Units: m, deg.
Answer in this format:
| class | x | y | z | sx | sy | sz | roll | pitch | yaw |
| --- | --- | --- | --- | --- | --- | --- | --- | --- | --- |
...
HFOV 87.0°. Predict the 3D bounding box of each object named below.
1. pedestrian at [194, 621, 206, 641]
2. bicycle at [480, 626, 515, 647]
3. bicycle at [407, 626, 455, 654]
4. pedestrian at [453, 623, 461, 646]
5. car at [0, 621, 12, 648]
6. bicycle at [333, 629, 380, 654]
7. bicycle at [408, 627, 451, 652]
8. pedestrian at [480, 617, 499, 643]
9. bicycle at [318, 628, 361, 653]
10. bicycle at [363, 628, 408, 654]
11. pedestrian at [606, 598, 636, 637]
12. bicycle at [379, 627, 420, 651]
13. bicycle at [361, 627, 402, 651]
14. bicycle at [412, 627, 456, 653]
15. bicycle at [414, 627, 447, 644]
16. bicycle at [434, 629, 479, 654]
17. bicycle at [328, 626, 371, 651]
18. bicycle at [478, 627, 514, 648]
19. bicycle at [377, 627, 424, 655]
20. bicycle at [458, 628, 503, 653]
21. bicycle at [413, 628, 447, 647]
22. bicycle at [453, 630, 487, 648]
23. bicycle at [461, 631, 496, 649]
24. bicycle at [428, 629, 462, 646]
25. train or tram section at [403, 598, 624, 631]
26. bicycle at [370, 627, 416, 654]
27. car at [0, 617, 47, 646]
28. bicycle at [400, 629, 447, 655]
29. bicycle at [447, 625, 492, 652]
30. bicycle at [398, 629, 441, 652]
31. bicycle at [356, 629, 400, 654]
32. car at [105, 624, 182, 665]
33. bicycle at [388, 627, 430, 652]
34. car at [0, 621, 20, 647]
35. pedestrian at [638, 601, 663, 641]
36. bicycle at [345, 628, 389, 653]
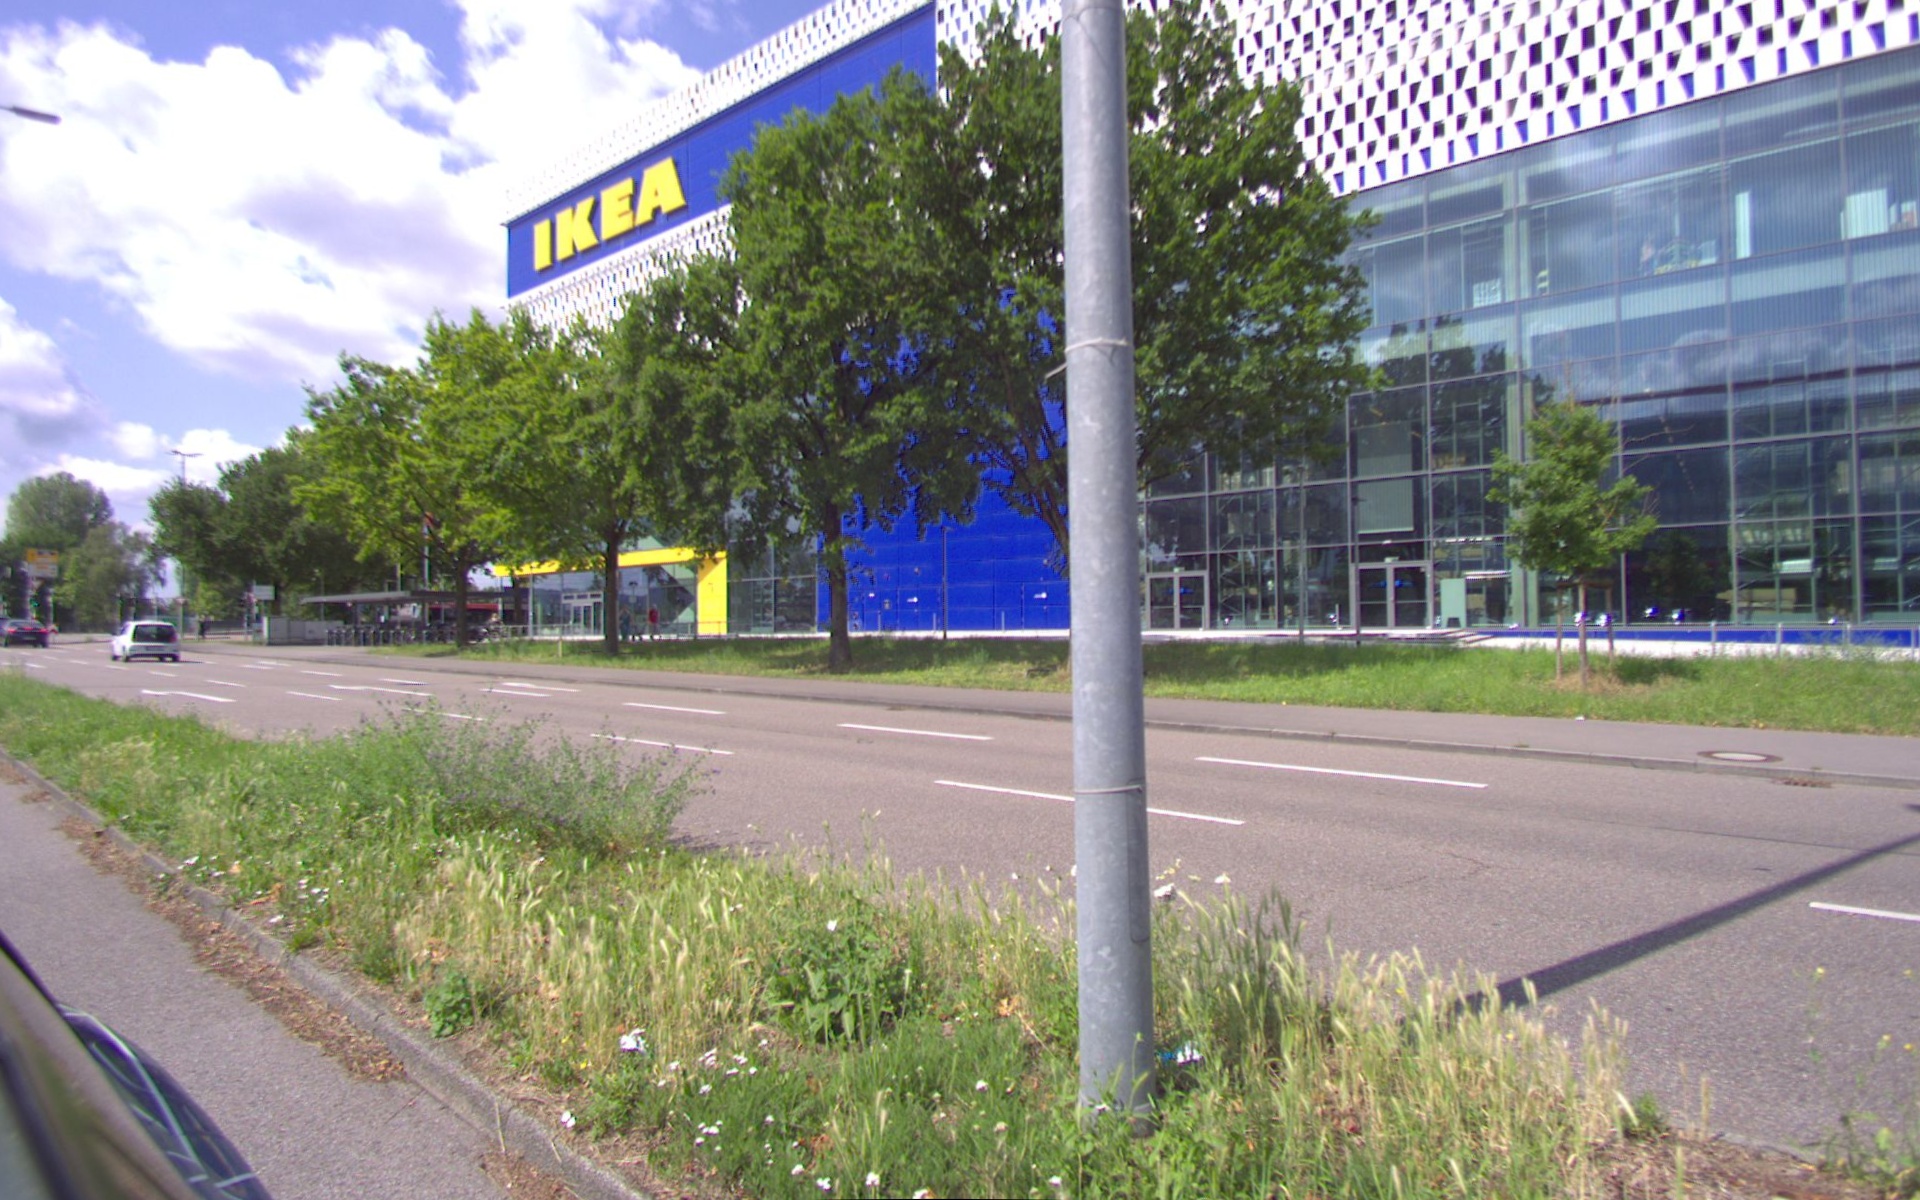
| class | x | y | z | sx | sy | sz | roll | pitch | yaw |
| --- | --- | --- | --- | --- | --- | --- | --- | --- | --- |
| pedestrian | -56.251 | 2.306 | 74.932 | 0.616 | 1.502 | 0.435 | -1 | -2 | 24 |
| bicycle | -28.171 | 2.217 | 61.640 | 0.528 | 1.219 | 1.917 | -1 | -2 | 36 |
| bicycle | -24.803 | 1.869 | 47.503 | 0.629 | 1.282 | 1.905 | -3 | -2 | 40 |
| pedestrian | -39.467 | 2.705 | 79.431 | 0.515 | 1.716 | 0.405 | -3 | -2 | 34 |
| car | -60.892 | 2.132 | 63.307 | 3.997 | 1.627 | 1.752 | 0 | -3 | 40 |
| bicycle | -32.093 | 2.192 | 53.805 | 0.629 | 1.282 | 2.068 | -3 | -2 | 40 |
| bicycle | -27.876 | 2.082 | 53.165 | 0.629 | 1.282 | 1.905 | -3 | -2 | 40 |
| pedestrian | -31.266 | 1.994 | 67.280 | 0.710 | 1.719 | 0.886 | -1 | -2 | 40 |
| bicycle | -33.887 | 2.215 | 55.313 | 0.629 | 1.282 | 1.905 | -3 | -2 | 40 |
| bicycle | -29.225 | 2.077 | 51.519 | 0.629 | 1.282 | 1.905 | -3 | -2 | 40 |
| pedestrian | -15.249 | 0.776 | 45.516 | 0.886 | 1.715 | 0.940 | -2 | -1 | 40 |
| bicycle | -30.782 | 2.142 | 55.584 | 0.629 | 1.282 | 1.905 | -3 | -2 | 40 |
| bicycle | -32.539 | 2.195 | 56.909 | 0.629 | 1.282 | 1.905 | -3 | -2 | 40 |
| bicycle | -27.268 | 2.059 | 52.463 | 0.629 | 1.282 | 1.905 | -3 | -2 | 40 |
| bicycle | -34.337 | 2.299 | 65.640 | 0.528 | 1.078 | 1.917 | -1 | -2 | 35 |
| bicycle | -25.124 | 2.060 | 50.548 | 0.629 | 1.188 | 1.905 | -3 | -2 | 40 |
| bicycle | -32.842 | 2.059 | 54.472 | 0.629 | 1.282 | 1.905 | -3 | -2 | 40 |
| bicycle | -27.850 | 2.245 | 60.772 | 0.596 | 1.253 | 1.927 | -1 | -2 | 36 |
| bicycle | -27.494 | 2.007 | 49.752 | 0.629 | 1.282 | 1.905 | -3 | -2 | 40 |
| bicycle | -23.358 | 1.976 | 49.334 | 0.629 | 1.193 | 1.905 | -3 | -2 | 40 |
| bicycle | -33.774 | 2.377 | 64.497 | 0.467 | 1.181 | 1.938 | -3 | -2 | 36 |
| bicycle | -30.426 | 2.423 | 62.852 | 0.519 | 1.098 | 1.912 | -3 | -2 | 36 |
| bicycle | -29.566 | 2.472 | 62.162 | 0.528 | 1.078 | 1.917 | -1 | -2 | 36 |
| bicycle | -32.773 | 2.386 | 64.431 | 0.528 | 1.078 | 1.917 | -1 | -2 | 36 |
| train or tram section | -52.162 | 1.920 | 120.252 | 4.525 | 3.055 | 24.801 | -2 | -4 | 38 |
| bicycle | -28.452 | 2.038 | 50.776 | 0.629 | 1.282 | 1.905 | -3 | -2 | 40 |
| car | -49.987 | 1.651 | 53.672 | 4.515 | 1.432 | 1.647 | -1 | -4 | 40 |
| bicycle | -25.582 | 2.003 | 48.270 | 0.629 | 1.192 | 1.905 | -3 | -2 | 40 |
| bicycle | -24.210 | 1.914 | 49.941 | 0.629 | 1.282 | 1.905 | -3 | -2 | 40 |
| bicycle | -28.690 | 2.144 | 53.750 | 0.629 | 1.192 | 1.905 | -3 | -2 | 40 |
| bicycle | -30.028 | 2.132 | 52.244 | 0.629 | 1.282 | 1.905 | -3 | -2 | 40 |
| car | -30.183 | 1.615 | 37.385 | 3.669 | 1.440 | 1.625 | -2 | -3 | 42 |
| bicycle | -29.750 | 2.128 | 54.625 | 0.629 | 1.282 | 1.905 | -3 | -2 | 40 |
| car | -54.621 | 1.920 | 57.415 | 4.093 | 1.402 | 1.397 | -1 | -4 | 41 |
| pedestrian | -14.378 | 0.951 | 46.944 | 0.886 | 1.836 | 0.746 | -2 | -1 | 40 |
| bicycle | -31.065 | 2.112 | 53.014 | 0.629 | 1.282 | 1.905 | -3 | -2 | 40 |
